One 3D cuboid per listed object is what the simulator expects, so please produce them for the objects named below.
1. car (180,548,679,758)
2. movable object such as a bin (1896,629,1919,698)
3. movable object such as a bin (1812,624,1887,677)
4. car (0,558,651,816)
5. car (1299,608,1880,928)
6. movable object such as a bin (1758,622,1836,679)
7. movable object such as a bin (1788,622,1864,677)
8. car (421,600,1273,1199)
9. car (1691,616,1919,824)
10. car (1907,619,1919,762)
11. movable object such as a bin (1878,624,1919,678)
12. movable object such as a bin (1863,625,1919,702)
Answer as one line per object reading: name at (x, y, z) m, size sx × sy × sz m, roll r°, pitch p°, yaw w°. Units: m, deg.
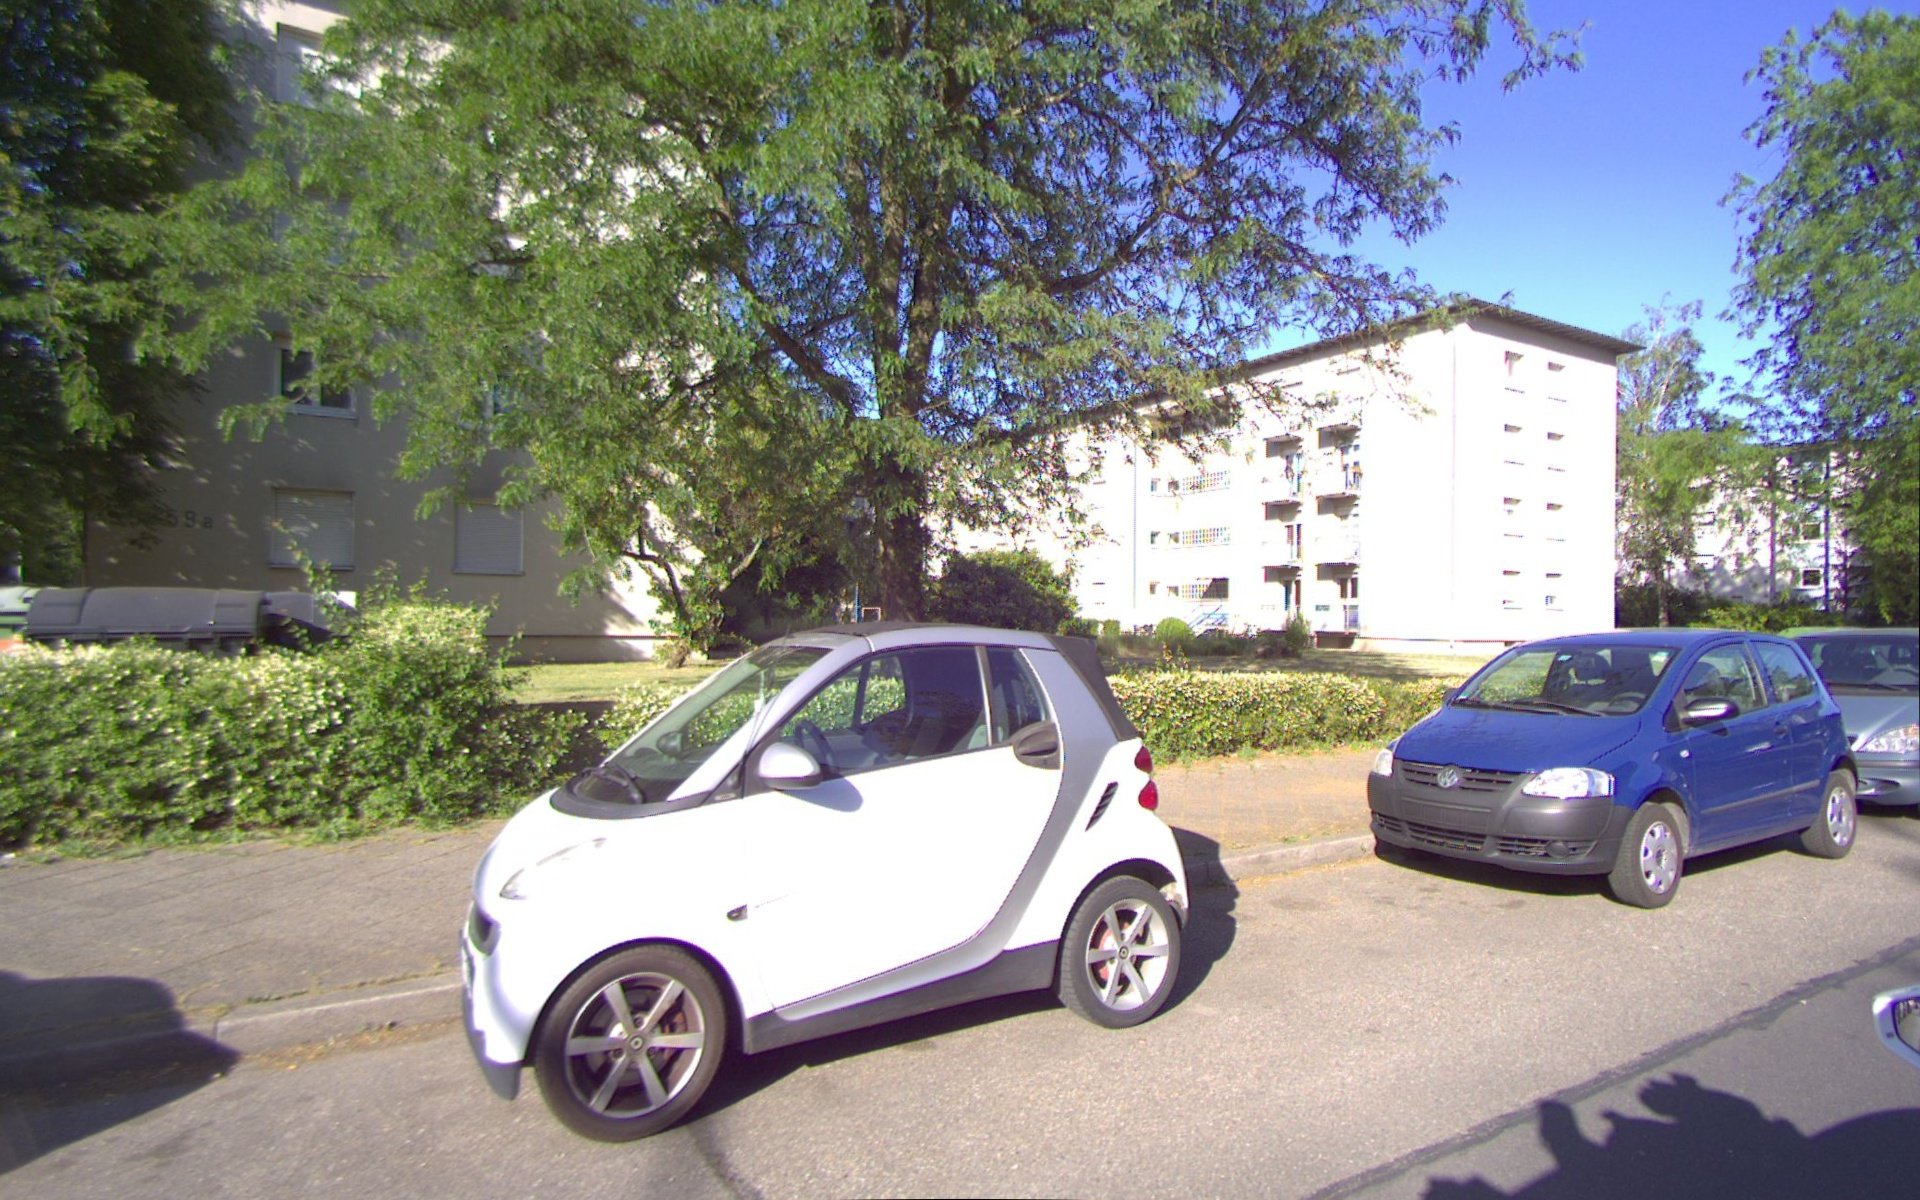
car at (-4.918, 0.457, 9.693) m, size 3.957 × 1.663 × 1.561 m, roll 1°, pitch 0°, yaw -33°
movable object such as a bin at (20.072, 1.319, 20.443) m, size 1.228 × 1.376 × 1.131 m, roll 1°, pitch 2°, yaw -29°
movable object such as a bin at (25.831, 1.447, 29.166) m, size 1.444 × 1.440 × 1.172 m, roll 1°, pitch 2°, yaw -29°
car at (-4.585, 0.552, 7.693) m, size 3.957 × 1.545 × 1.561 m, roll 1°, pitch 0°, yaw -33°
car at (4.379, 0.932, 6.892) m, size 3.922 × 1.627 × 1.746 m, roll 1°, pitch -3°, yaw -30°
movable object such as a bin at (23.033, 1.370, 27.650) m, size 1.444 × 1.440 × 1.172 m, roll 1°, pitch 2°, yaw -29°
movable object such as a bin at (24.516, 1.392, 28.443) m, size 1.444 × 1.440 × 1.172 m, roll 1°, pitch 2°, yaw -29°
car at (-0.365, 0.862, 4.062) m, size 3.107 × 1.594 × 1.437 m, roll 1°, pitch -3°, yaw -32°
car at (8.593, 0.996, 9.424) m, size 3.496 × 1.627 × 1.627 m, roll 1°, pitch -2°, yaw -32°
car at (13.426, 1.072, 12.077) m, size 4.299 × 1.661 × 1.894 m, roll 1°, pitch -2°, yaw -31°
movable object such as a bin at (26.959, 1.441, 28.346) m, size 1.344 × 1.440 × 1.129 m, roll 1°, pitch 2°, yaw -29°
movable object such as a bin at (18.768, 1.235, 19.693) m, size 1.424 × 1.401 × 1.131 m, roll 1°, pitch 2°, yaw -29°
